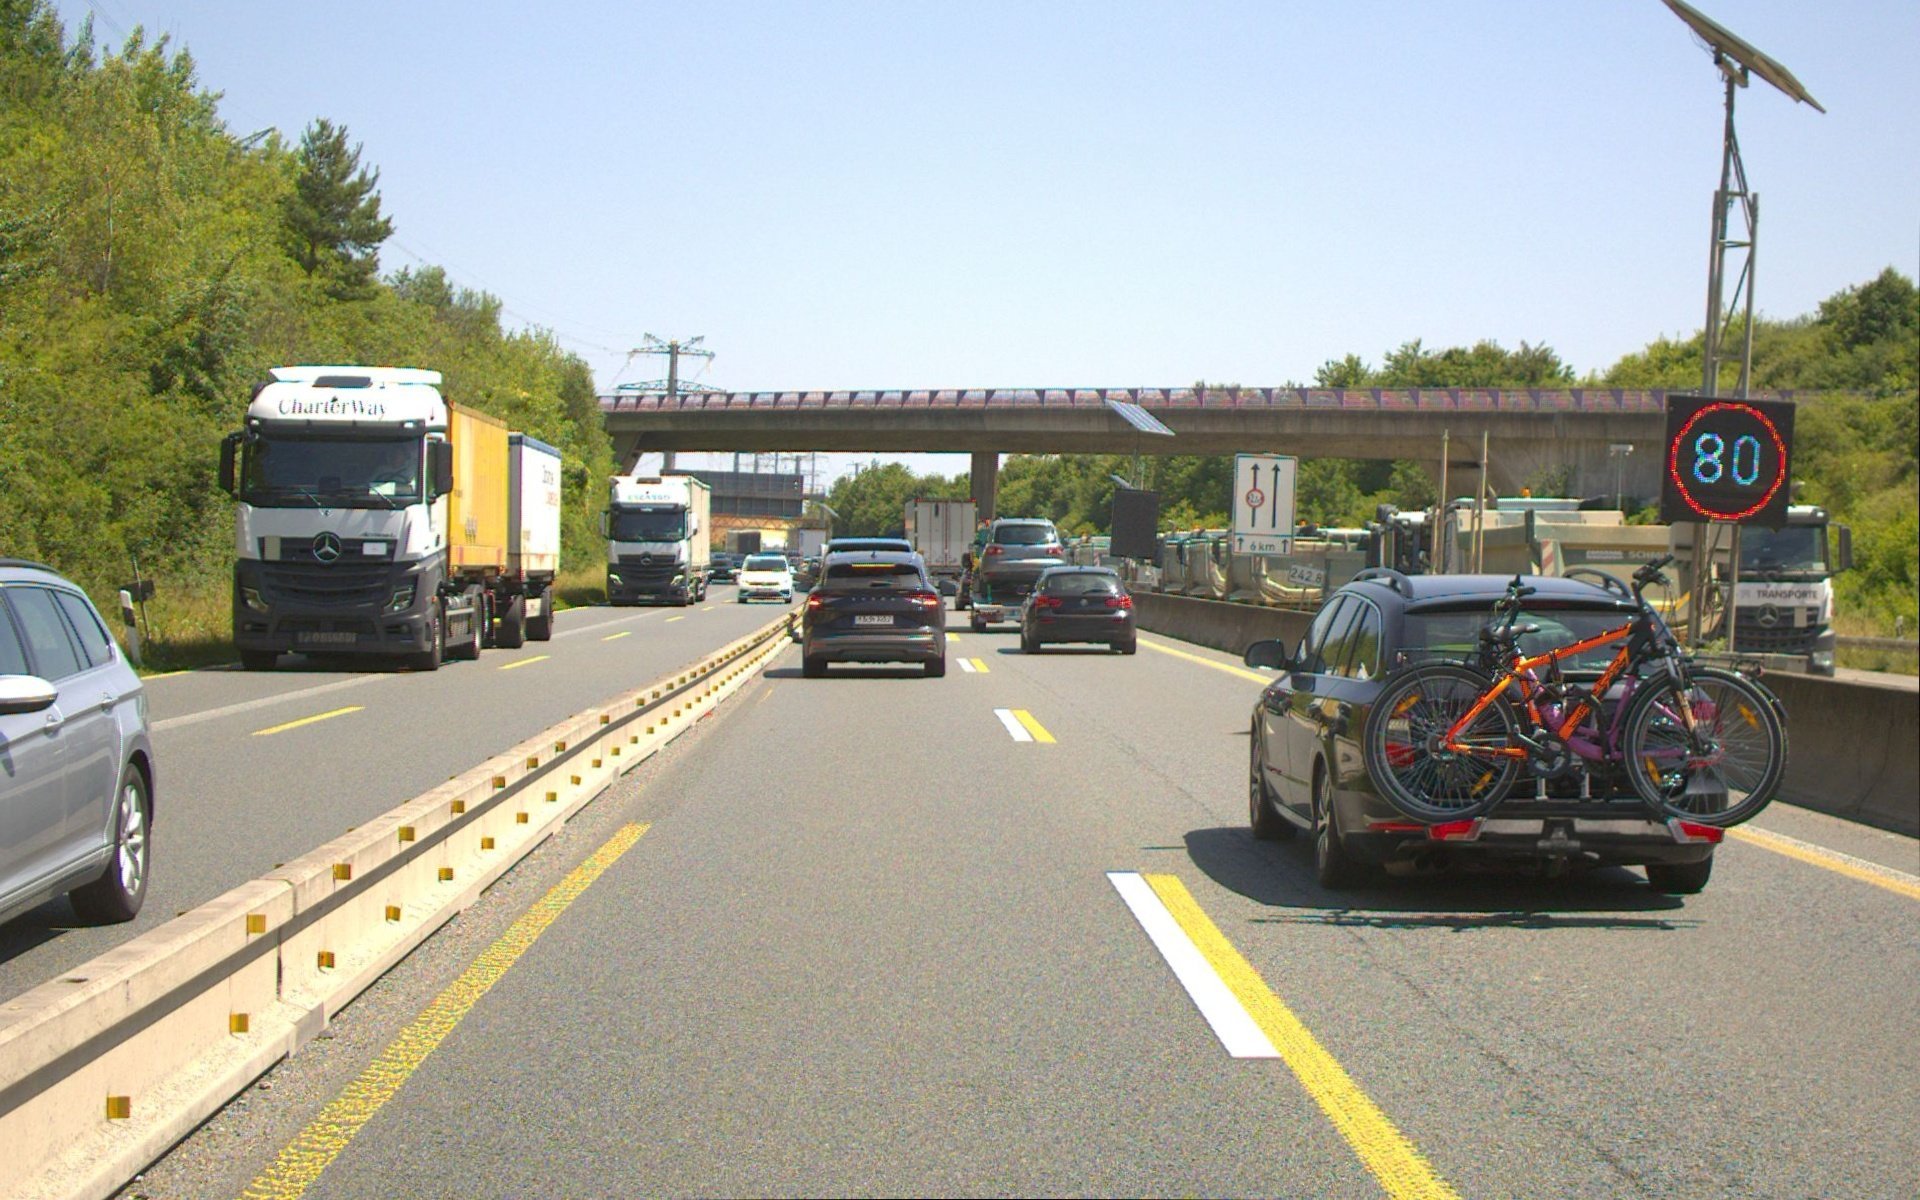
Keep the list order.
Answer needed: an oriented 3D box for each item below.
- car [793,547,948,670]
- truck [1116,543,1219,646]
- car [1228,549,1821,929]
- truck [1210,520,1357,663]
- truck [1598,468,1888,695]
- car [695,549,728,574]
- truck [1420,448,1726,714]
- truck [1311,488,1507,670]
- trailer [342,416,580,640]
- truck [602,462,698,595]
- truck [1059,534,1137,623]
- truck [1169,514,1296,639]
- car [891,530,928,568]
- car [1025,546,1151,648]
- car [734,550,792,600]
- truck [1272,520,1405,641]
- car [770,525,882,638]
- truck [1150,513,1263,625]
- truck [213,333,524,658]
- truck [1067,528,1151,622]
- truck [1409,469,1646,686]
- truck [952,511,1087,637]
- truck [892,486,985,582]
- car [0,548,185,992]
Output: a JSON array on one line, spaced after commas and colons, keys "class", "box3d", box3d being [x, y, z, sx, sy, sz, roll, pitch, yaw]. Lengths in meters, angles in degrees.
[{"class": "car", "box3d": [-1.141, 0.084, 44.900, 1.899, 1.500, 4.276, 1, 1, -1]}, {"class": "truck", "box3d": [7.391, -0.264, 123.718, 2.687, 3.545, 9.326, 1, 1, -2]}, {"class": "car", "box3d": [2.456, 0.541, 16.244, 1.899, 1.485, 4.948, 1, 0, -1]}, {"class": "truck", "box3d": [8.456, -0.283, 90.878, 2.687, 3.545, 9.603, 1, 1, -1]}, {"class": "truck", "box3d": [12.993, -0.350, 57.848, 2.687, 3.499, 8.381, 1, 1, -2]}, {"class": "car", "box3d": [-15.530, -2.437, 214.714, 1.793, 1.520, 4.531, 1, 1, -1]}, {"class": "truck", "box3d": [8.747, -0.315, 50.198, 2.533, 3.499, 9.097, 1, 1, -2]}, {"class": "truck", "box3d": [9.335, -0.489, 72.526, 2.538, 3.545, 9.603, 1, 1, -2]}, {"class": "trailer", "box3d": [-8.188, -1.174, 57.455, 2.650, 3.325, 8.919, 3, 1, -1]}, {"class": "truck", "box3d": [-9.792, -2.252, 109.508, 2.409, 3.978, 10.353, 2, 1, -2]}, {"class": "truck", "box3d": [6.127, -1.012, 154.007, 2.687, 3.843, 9.326, 1, 1, -2]}, {"class": "truck", "box3d": [8.057, -0.742, 102.859, 2.687, 3.545, 9.407, 1, 1, -2]}, {"class": "car", "box3d": [-2.636, -2.653, 179.672, 1.899, 1.962, 4.276, 1, 1, -1]}, {"class": "car", "box3d": [2.066, -0.066, 56.641, 1.899, 1.580, 4.276, 1, 1, 0]}, {"class": "car", "box3d": [-6.645, -0.848, 116.329, 1.824, 1.625, 4.151, 1, 0, -2]}, {"class": "truck", "box3d": [11.046, -0.616, 101.150, 2.687, 3.366, 9.603, 1, 1, -1]}, {"class": "car", "box3d": [-2.419, -0.355, 63.022, 1.899, 1.962, 4.276, 1, 1, -1]}, {"class": "truck", "box3d": [8.150, -1.068, 114.732, 2.687, 3.545, 9.326, 1, 1, -2]}, {"class": "truck", "box3d": [-8.067, -1.389, 48.172, 2.649, 3.978, 9.651, 3, 1, -1]}, {"class": "truck", "box3d": [6.106, -1.065, 142.135, 2.687, 3.748, 9.326, 1, 1, -2]}, {"class": "truck", "box3d": [9.817, -0.424, 60.448, 2.533, 3.499, 8.945, 1, 1, -1]}, {"class": "truck", "box3d": [1.213, -0.609, 74.291, 2.405, 2.549, 7.501, 1, 1, -3]}, {"class": "truck", "box3d": [-0.968, -2.746, 144.342, 3.292, 3.832, 10.111, 1, 1, -4]}, {"class": "car", "box3d": [-4.152, 0.565, 12.328, 1.841, 1.485, 4.511, 0, 0, -2]}]
